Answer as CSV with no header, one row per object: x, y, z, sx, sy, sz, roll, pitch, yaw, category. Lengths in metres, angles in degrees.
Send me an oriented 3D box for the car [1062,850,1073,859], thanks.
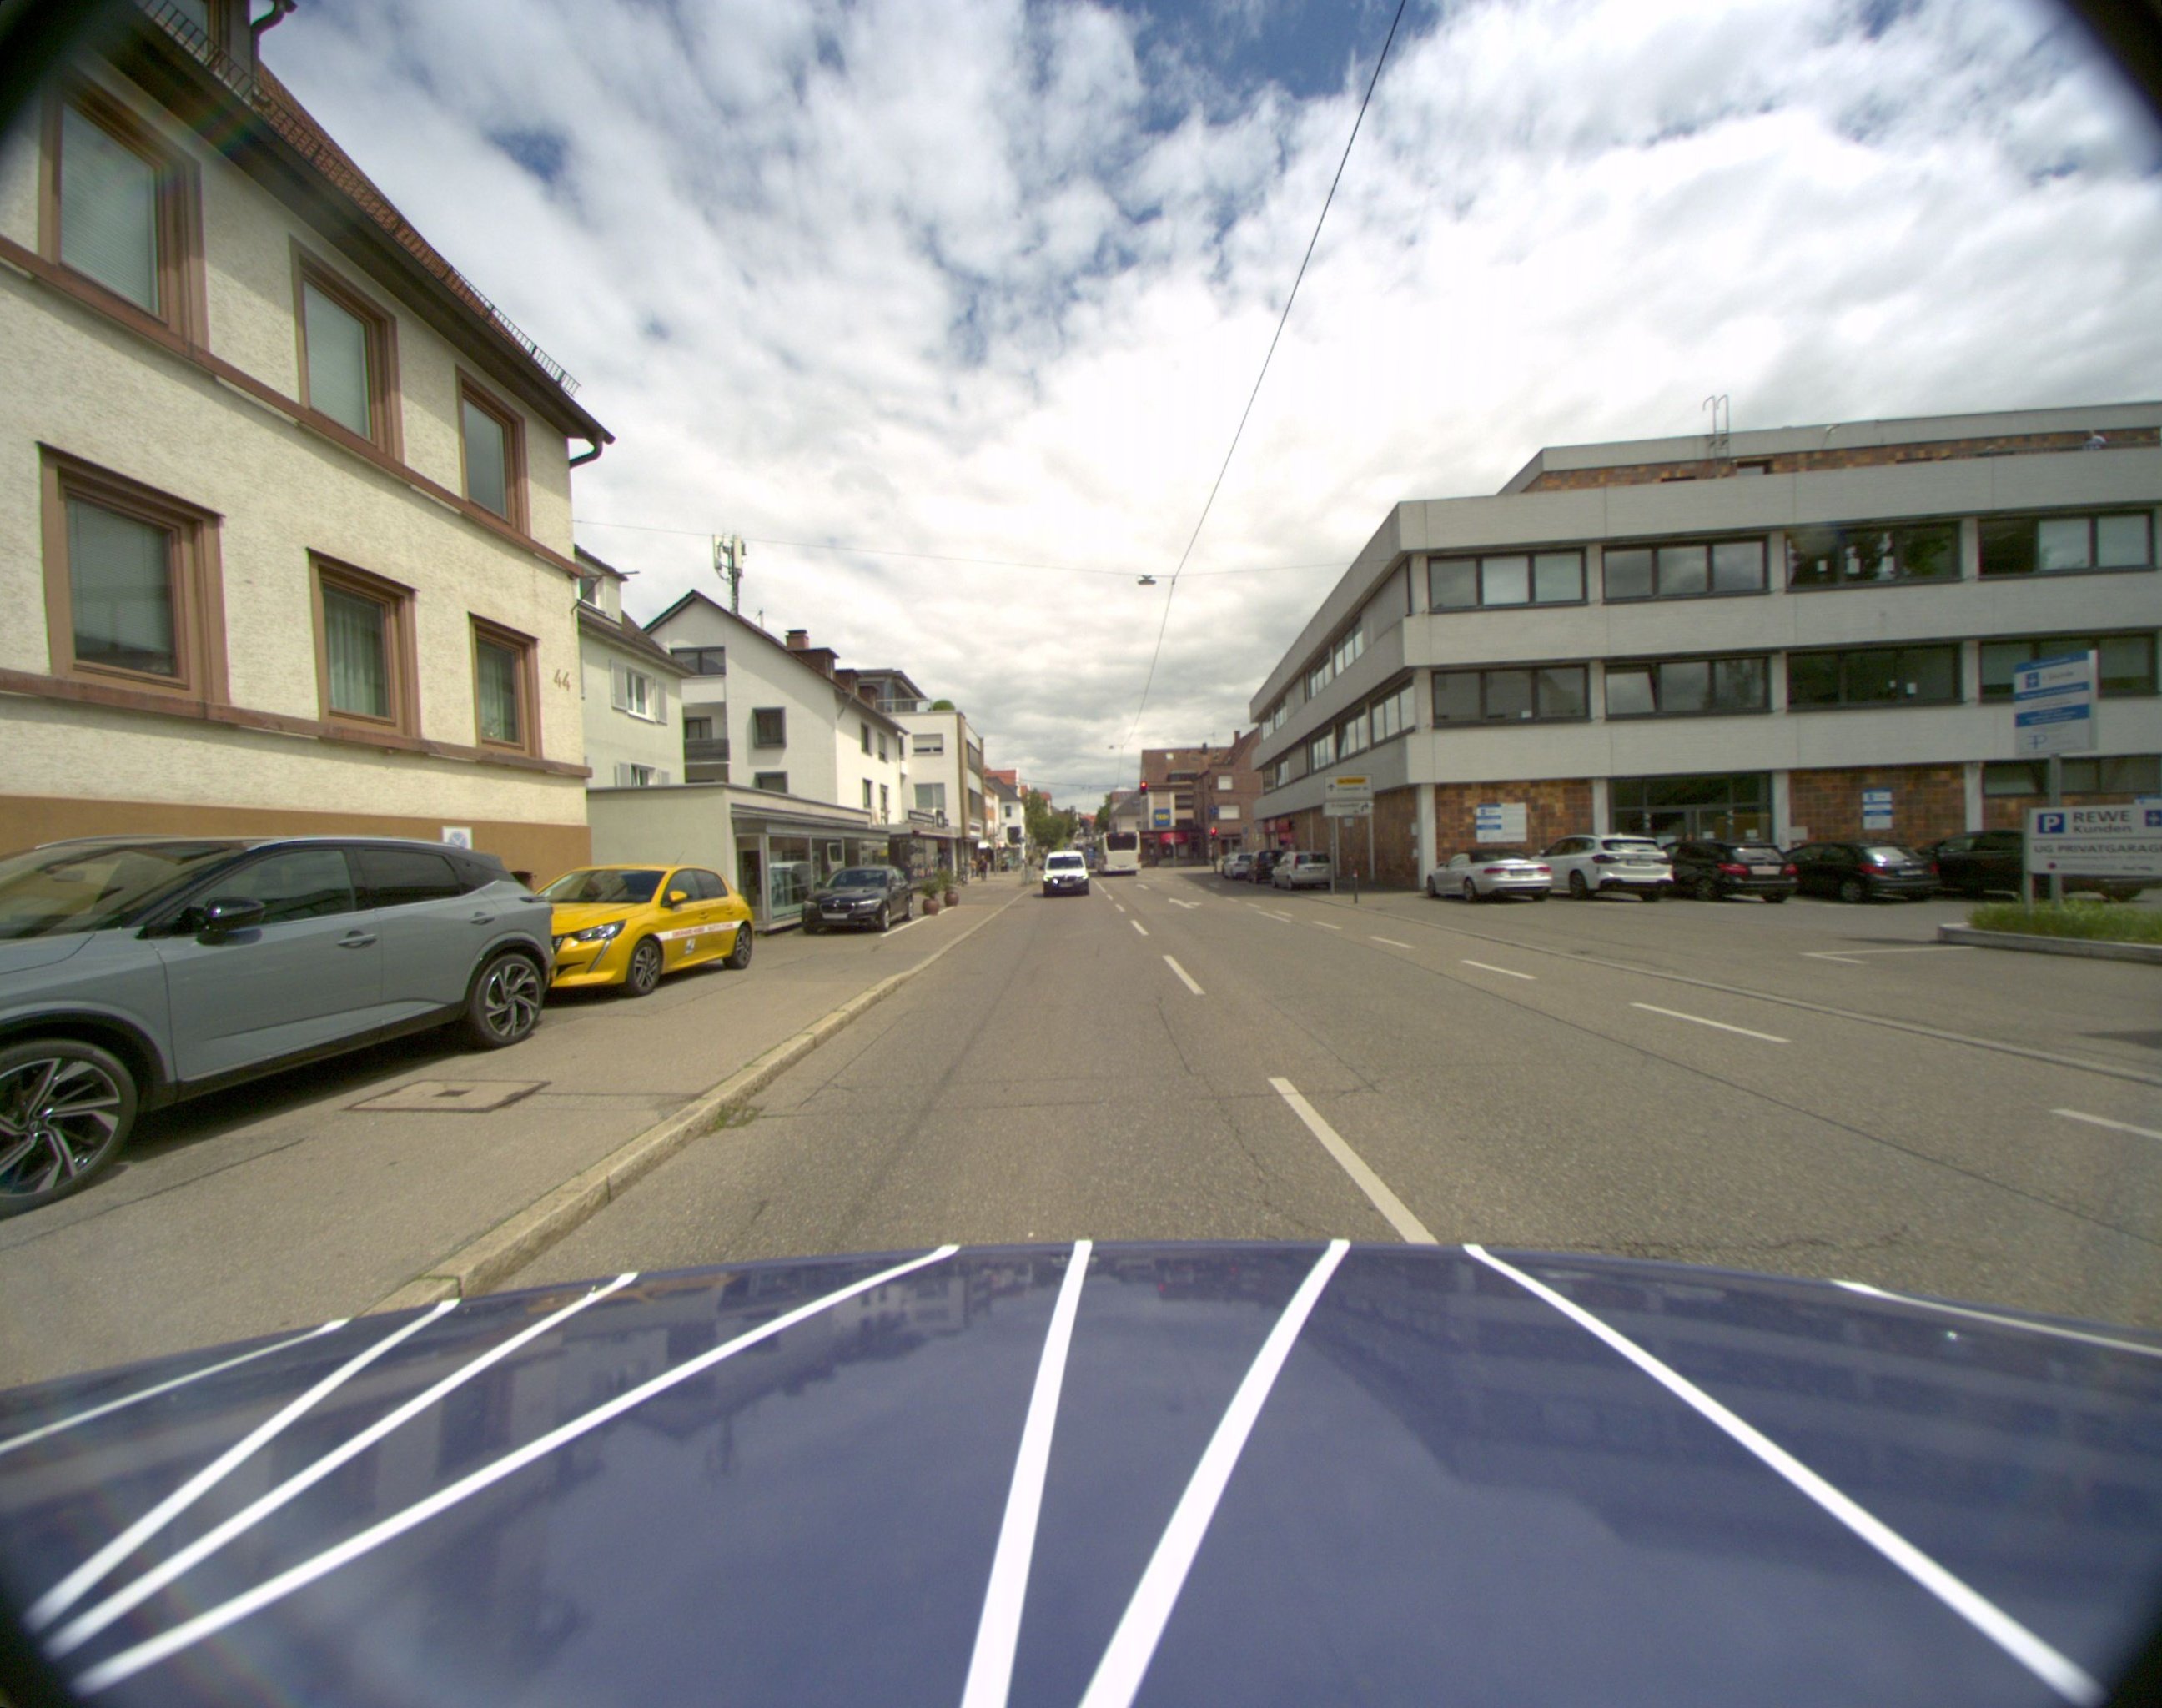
-2.796,0.059,157.523,2.150,1.747,3.973,-1,0,0,car

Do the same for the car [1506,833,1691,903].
13.438,0.316,20.195,1.955,1.610,4.932,1,0,6,car

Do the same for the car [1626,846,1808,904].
16.284,0.480,19.701,1.767,1.323,3.605,-2,0,2,car

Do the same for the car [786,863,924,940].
-5.050,0.993,17.664,1.973,1.439,4.534,-1,0,-2,car

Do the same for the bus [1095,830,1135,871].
2.807,-0.315,65.591,2.689,3.145,10.182,-2,0,-2,bus

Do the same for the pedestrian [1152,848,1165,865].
7.942,0.224,77.754,0.908,1.713,0.849,-2,1,-42,pedestrian

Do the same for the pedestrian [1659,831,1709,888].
17.867,0.162,22.545,0.719,1.662,0.995,0,1,5,pedestrian

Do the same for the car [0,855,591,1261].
-5.223,0.818,4.365,1.865,1.602,4.585,-1,0,-1,car

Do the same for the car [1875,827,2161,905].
21.899,0.242,17.846,1.926,1.569,4.497,-2,0,3,car

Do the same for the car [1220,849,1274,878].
8.998,0.481,41.590,2.049,1.436,4.953,-3,0,3,car

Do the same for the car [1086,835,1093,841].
2.891,-5.365,252.573,1.982,1.985,5.027,-1,0,-2,car

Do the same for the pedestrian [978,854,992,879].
-6.303,0.819,50.077,0.797,1.661,0.807,-1,1,-1,pedestrian

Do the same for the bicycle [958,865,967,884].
-6.794,1.176,43.421,0.476,1.022,1.634,-2,0,-9,bicycle

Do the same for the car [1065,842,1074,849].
-2.759,-2.059,183.599,2.150,1.747,3.973,-1,0,0,car

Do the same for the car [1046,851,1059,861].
-4.817,0.336,130.021,1.999,1.654,3.999,-2,0,0,car

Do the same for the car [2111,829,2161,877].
29.703,-0.047,19.287,1.850,1.287,4.001,-2,0,5,car

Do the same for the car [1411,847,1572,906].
10.815,0.516,20.495,1.955,1.350,4.856,-2,0,4,car

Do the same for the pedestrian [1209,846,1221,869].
9.618,0.242,54.439,0.719,1.635,0.682,-3,1,5,pedestrian

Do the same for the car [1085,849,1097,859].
1.740,0.006,133.493,1.950,1.810,4.278,-2,0,-1,car

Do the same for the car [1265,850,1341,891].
8.500,0.587,29.487,1.726,1.413,4.148,-3,0,1,car

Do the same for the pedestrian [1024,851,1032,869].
-5.361,0.587,76.878,0.581,1.820,0.882,0,1,16,pedestrian

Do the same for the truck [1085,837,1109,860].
2.223,-0.790,108.206,2.861,3.075,8.086,-2,0,-3,truck

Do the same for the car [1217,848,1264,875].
9.810,0.425,47.030,2.049,1.467,4.285,-3,0,1,car

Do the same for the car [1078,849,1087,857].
0.263,-0.158,151.889,1.681,1.626,2.833,-2,0,-2,car

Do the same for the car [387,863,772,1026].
-5.492,0.904,9.153,1.882,1.438,4.308,-1,-2,-2,car

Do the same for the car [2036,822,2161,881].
27.595,-0.083,19.292,1.850,1.453,4.001,-2,0,5,car

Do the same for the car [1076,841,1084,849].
-0.306,-2.203,191.111,1.819,1.919,4.112,-1,0,0,car

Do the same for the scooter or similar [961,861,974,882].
-6.880,1.054,46.135,0.690,1.260,1.184,-2,1,-13,scooter or similar

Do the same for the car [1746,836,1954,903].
19.652,0.355,19.659,1.767,1.537,3.605,-2,0,2,car

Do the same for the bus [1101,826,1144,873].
2.957,-0.313,56.551,2.722,3.145,8.068,-2,0,1,bus

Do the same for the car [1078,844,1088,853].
0.480,-1.229,170.255,1.954,1.866,4.875,-2,1,-1,car

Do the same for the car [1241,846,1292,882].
8.709,0.462,35.825,1.740,1.547,3.057,-3,0,3,car

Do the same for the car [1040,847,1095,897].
-0.621,0.689,31.246,2.000,1.797,4.764,-3,0,-2,car

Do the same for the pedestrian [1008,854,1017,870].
-6.840,0.786,76.021,0.779,1.517,0.819,-1,1,2,pedestrian

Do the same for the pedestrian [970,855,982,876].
-7.635,0.843,55.314,0.681,1.490,0.720,-2,1,-1,pedestrian
